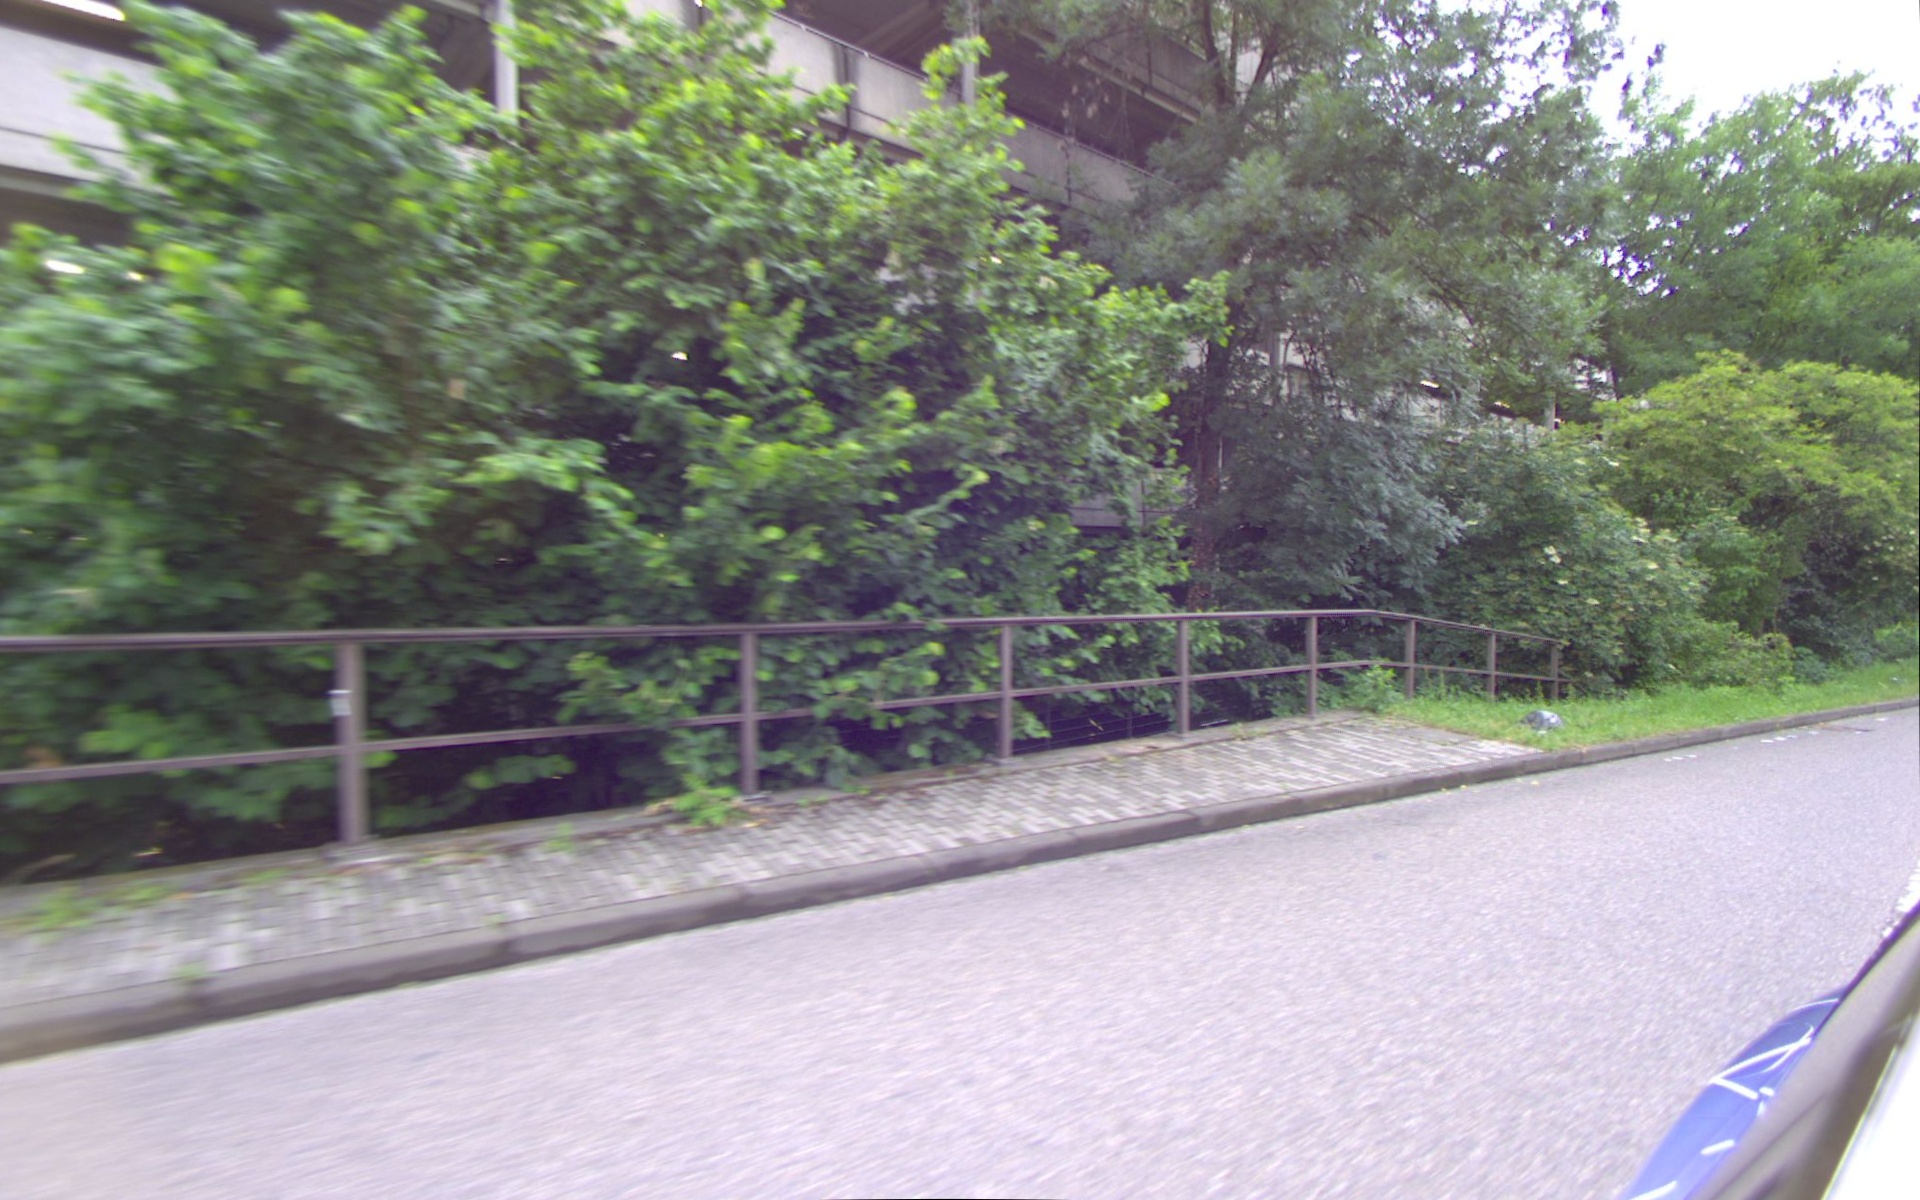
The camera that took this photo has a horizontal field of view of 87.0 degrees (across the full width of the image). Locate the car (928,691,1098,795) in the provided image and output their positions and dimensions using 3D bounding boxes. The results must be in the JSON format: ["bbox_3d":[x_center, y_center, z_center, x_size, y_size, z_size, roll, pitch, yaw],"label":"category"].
[{"bbox_3d":[1.068,2.936,21.383,1.637,1.530,3.388,-3,4,-44],"label":"car"}]

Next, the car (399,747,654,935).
[{"bbox_3d":[-6.551,3.356,15.017,1.968,1.447,4.656,-3,4,-43],"label":"car"}]

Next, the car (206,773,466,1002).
[{"bbox_3d":[-8.317,3.505,13.280,1.968,1.447,4.656,-3,4,-43],"label":"car"}]

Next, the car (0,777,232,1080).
[{"bbox_3d":[-9.984,3.457,11.641,1.967,1.806,4.749,-2,3,-44],"label":"car"}]
